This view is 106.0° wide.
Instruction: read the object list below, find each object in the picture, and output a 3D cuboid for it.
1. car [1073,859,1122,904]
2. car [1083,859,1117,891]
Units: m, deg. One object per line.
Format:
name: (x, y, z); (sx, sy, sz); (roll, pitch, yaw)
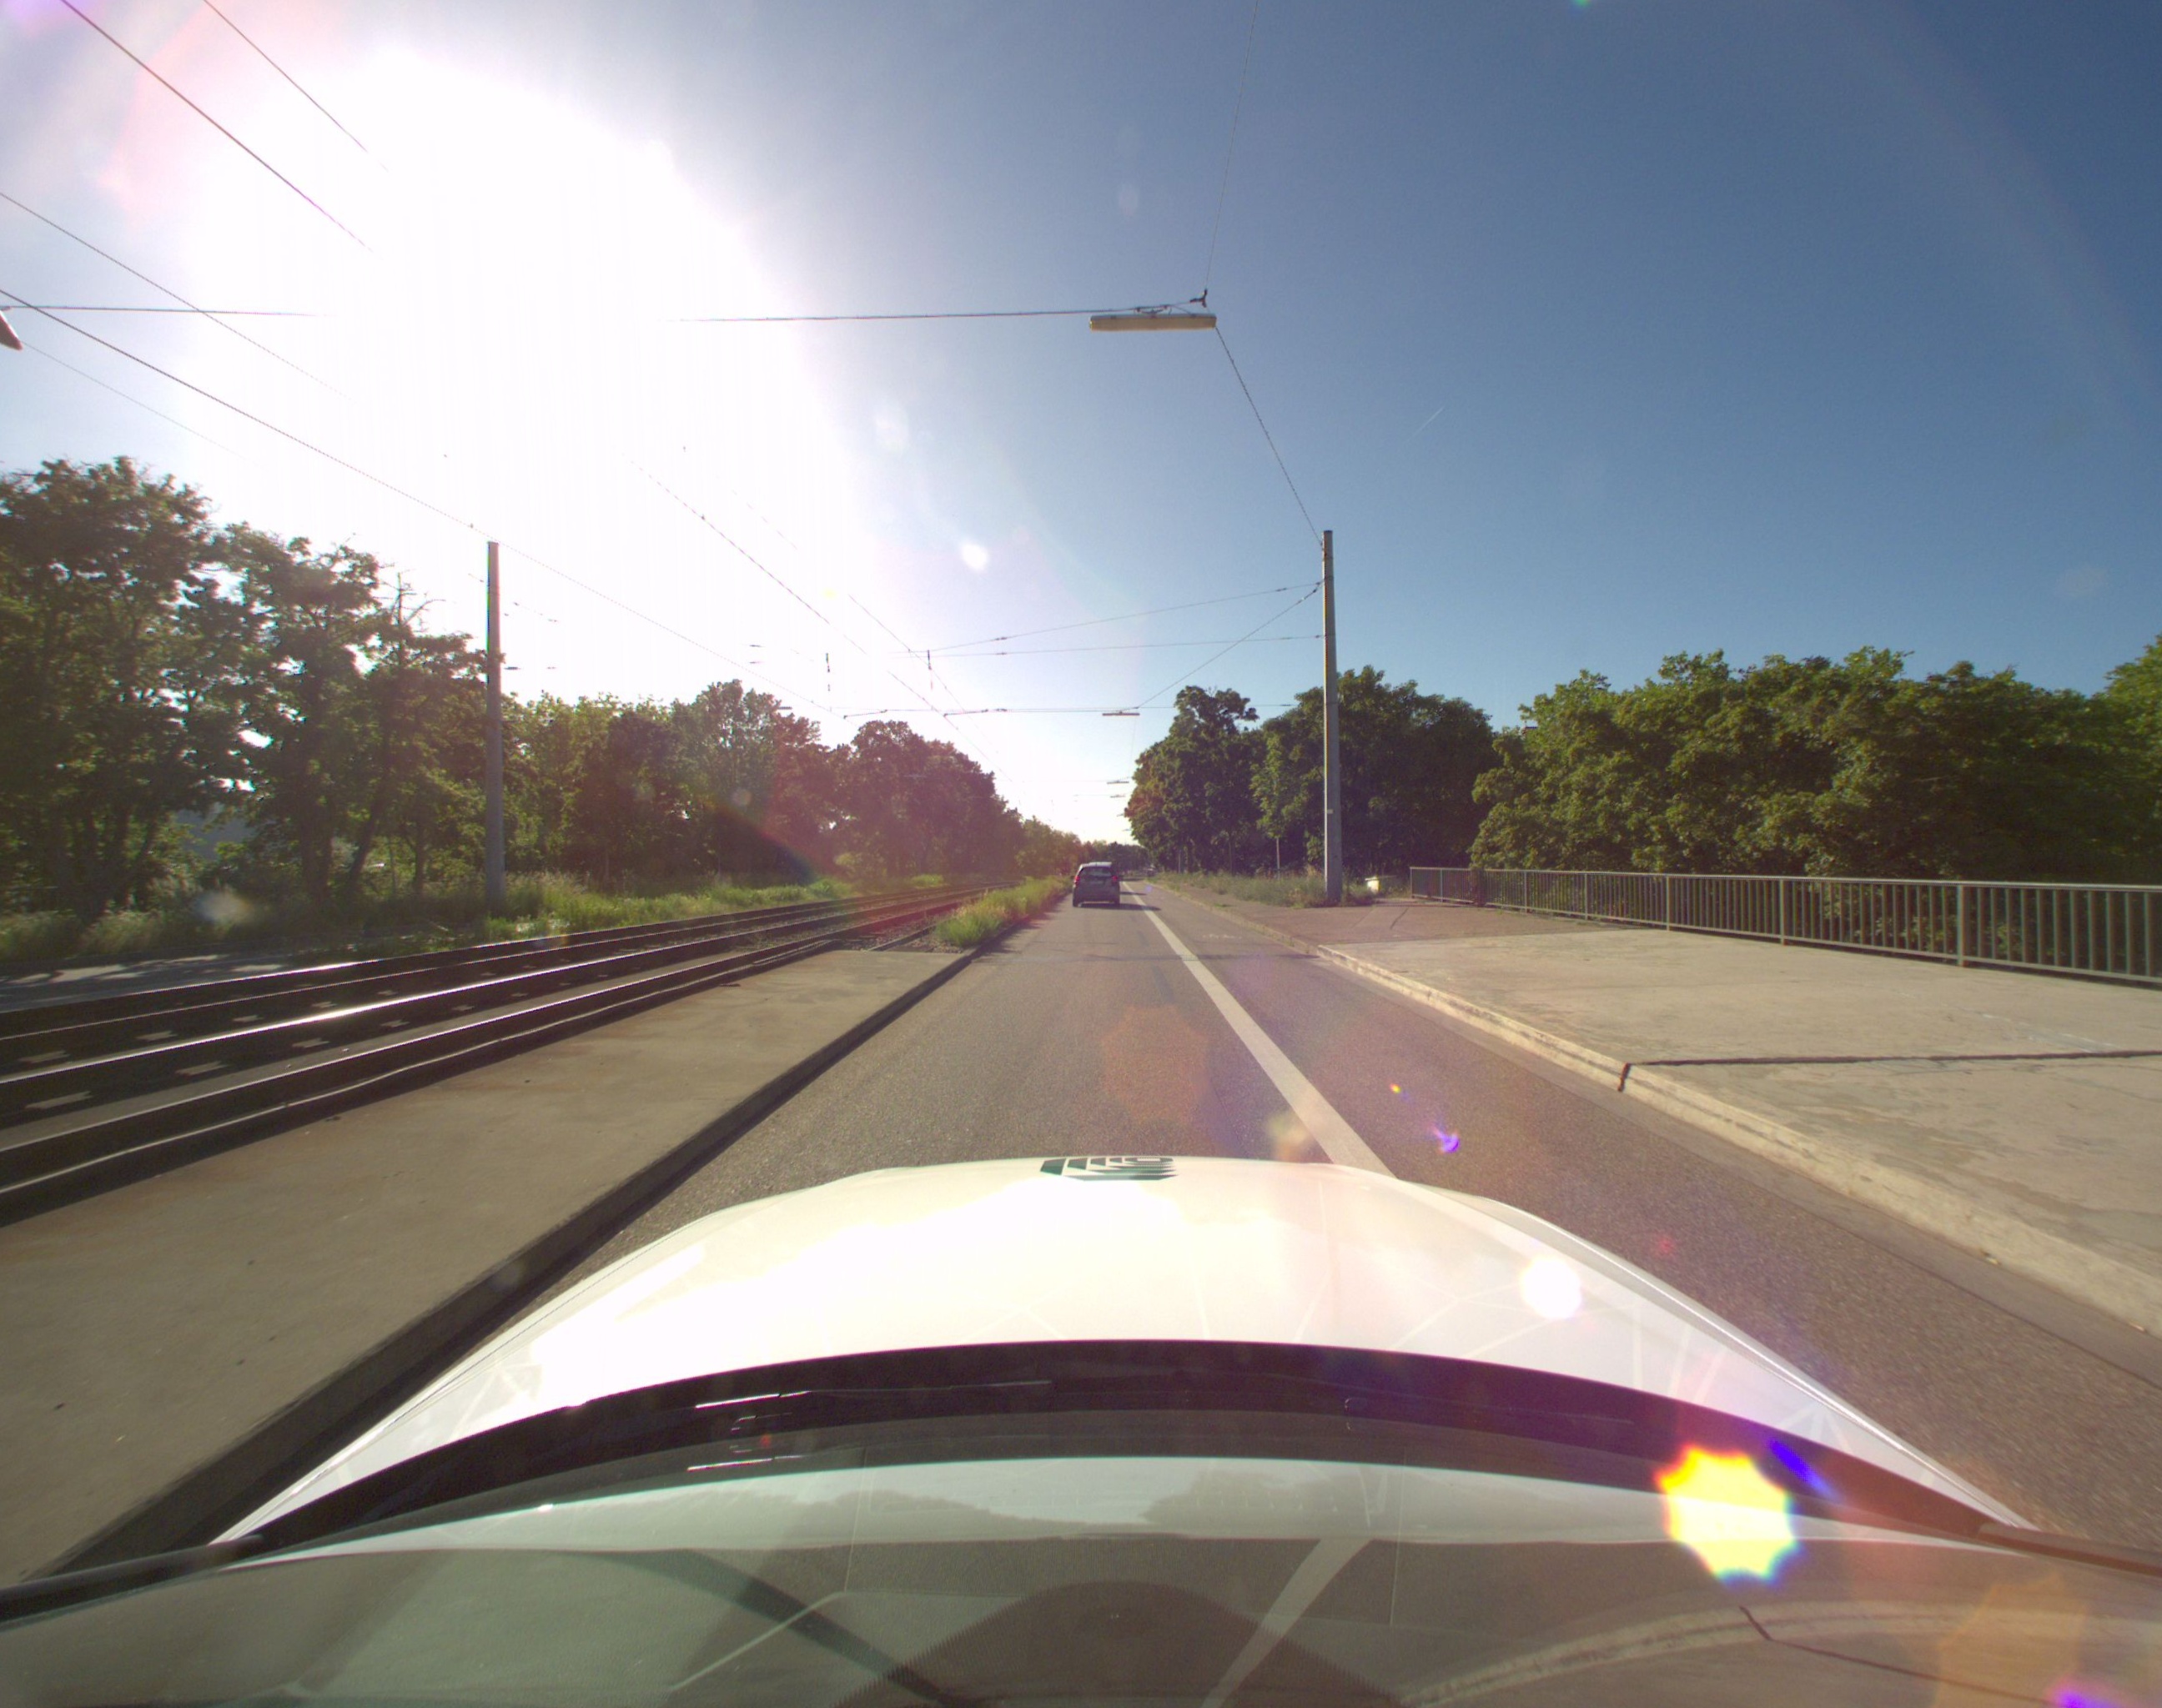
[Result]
car: (0.642, 0.984, 29.793); (1.663, 1.508, 3.813); (1, -1, 2)
car: (1.045, 1.061, 43.008); (1.648, 1.507, 3.814); (1, 1, 2)
